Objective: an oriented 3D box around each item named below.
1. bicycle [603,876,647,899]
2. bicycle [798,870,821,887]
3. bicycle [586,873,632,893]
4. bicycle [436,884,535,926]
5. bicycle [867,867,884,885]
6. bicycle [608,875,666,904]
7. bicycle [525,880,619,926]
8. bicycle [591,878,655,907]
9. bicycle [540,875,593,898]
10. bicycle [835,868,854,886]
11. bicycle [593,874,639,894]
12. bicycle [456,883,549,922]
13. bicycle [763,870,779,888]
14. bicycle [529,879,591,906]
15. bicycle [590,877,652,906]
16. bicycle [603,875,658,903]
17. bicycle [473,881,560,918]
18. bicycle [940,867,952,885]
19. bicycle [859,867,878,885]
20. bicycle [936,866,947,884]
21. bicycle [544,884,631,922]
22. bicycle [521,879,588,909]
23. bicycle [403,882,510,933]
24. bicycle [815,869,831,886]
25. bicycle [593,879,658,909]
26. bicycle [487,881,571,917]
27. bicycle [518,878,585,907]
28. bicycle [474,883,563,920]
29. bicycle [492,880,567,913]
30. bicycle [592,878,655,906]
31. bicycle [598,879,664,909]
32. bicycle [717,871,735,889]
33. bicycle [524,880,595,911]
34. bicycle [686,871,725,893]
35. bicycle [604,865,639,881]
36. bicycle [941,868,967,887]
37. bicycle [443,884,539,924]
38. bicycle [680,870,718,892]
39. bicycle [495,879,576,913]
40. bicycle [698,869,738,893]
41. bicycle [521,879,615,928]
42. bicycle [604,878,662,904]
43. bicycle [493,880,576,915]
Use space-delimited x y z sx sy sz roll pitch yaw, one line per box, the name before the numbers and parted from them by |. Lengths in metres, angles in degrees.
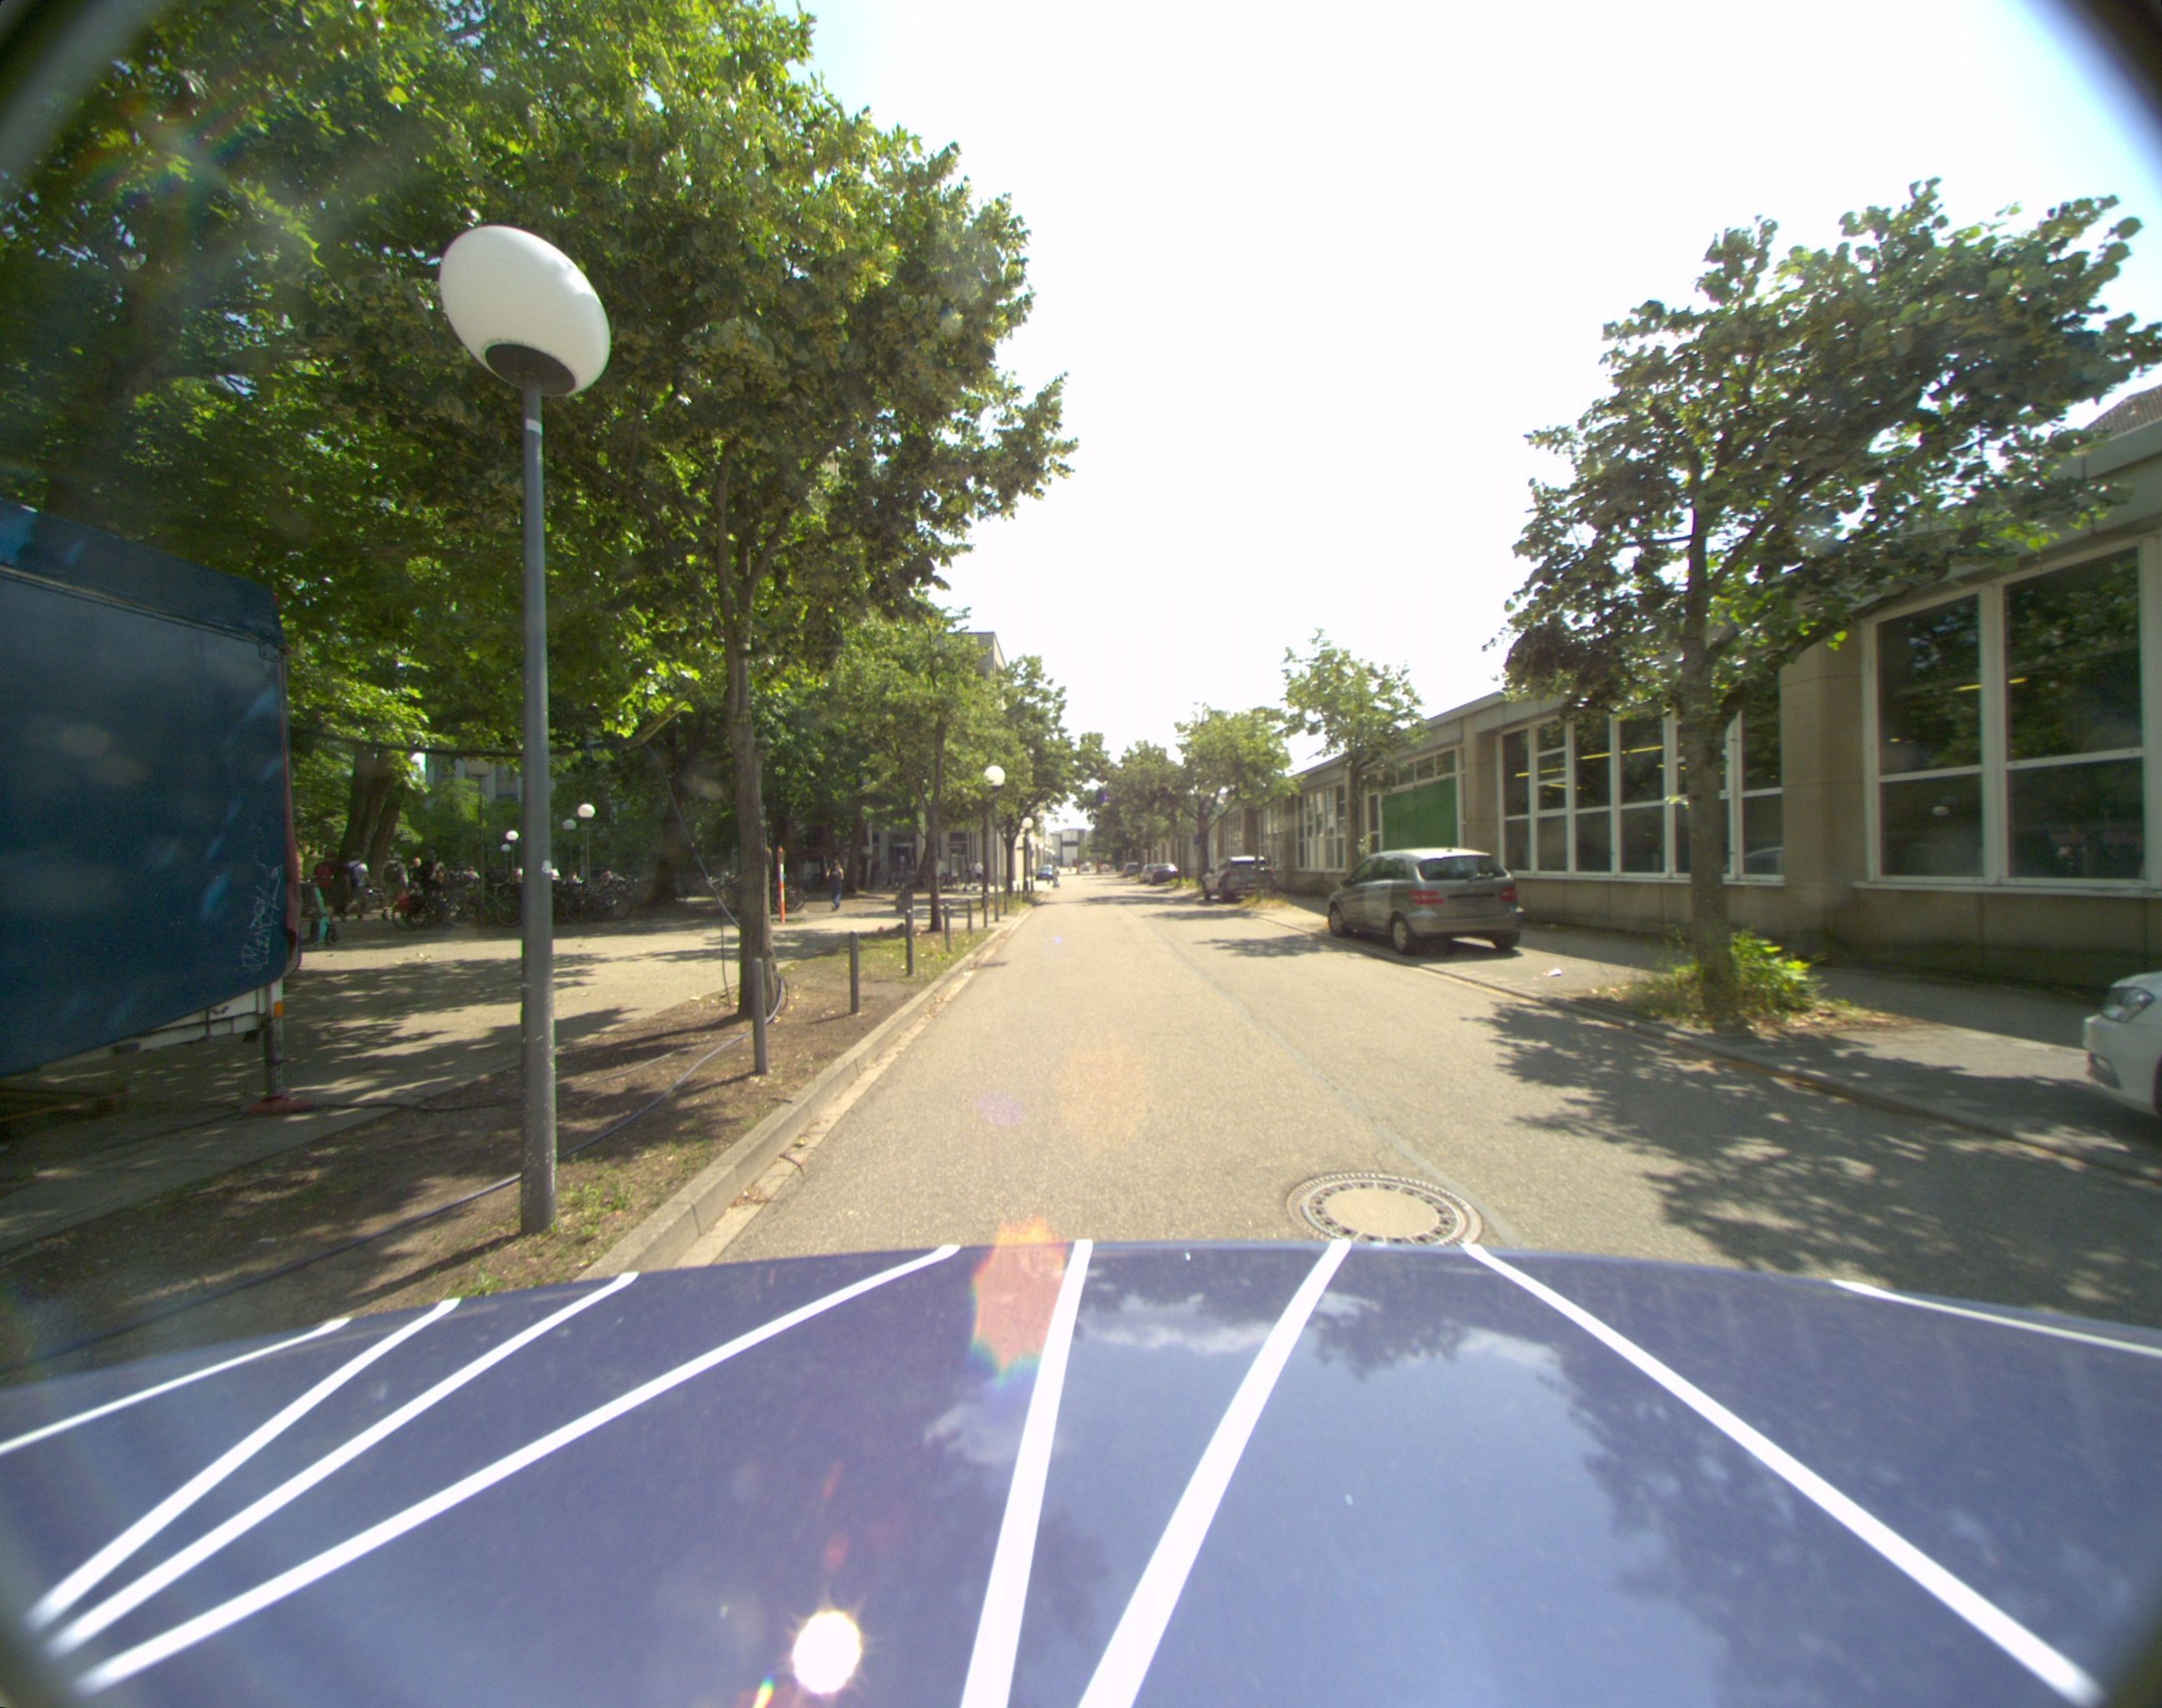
bicycle | -21.760 1.588 36.309 1.746 1.017 0.477 0 0 -41
bicycle | -17.410 1.574 48.838 0.617 1.041 1.698 -4 -1 8
bicycle | -24.057 1.483 38.743 0.477 0.973 1.908 0 0 41
bicycle | -14.844 1.265 18.984 1.905 0.973 0.478 0 0 -19
bicycle | -13.204 1.444 48.928 0.481 1.118 1.697 0 -2 5
bicycle | -17.395 1.381 29.773 1.907 1.076 0.477 0 0 -36
bicycle | -13.006 1.241 19.482 1.906 1.112 0.611 0 0 -22
bicycle | -16.504 1.388 27.396 1.908 0.973 0.477 0 0 -41
bicycle | -22.745 1.424 33.645 1.907 0.973 0.477 0 0 -30
bicycle | -15.258 1.460 49.009 0.627 1.143 1.697 0 -2 2
bicycle | -23.168 1.495 37.892 1.908 0.973 0.477 0 0 -38
bicycle | -15.344 1.276 20.192 1.906 0.973 0.477 0 0 -25
bicycle | -20.047 1.634 49.133 0.454 1.123 1.688 -3 -1 -5
bicycle | -19.884 1.458 29.017 1.908 0.973 0.477 0 0 -39
bicycle | -17.023 1.375 28.173 1.908 0.973 0.477 0 0 -42
bicycle | -18.561 1.427 31.346 1.907 1.076 0.477 0 0 -36
bicycle | -15.768 1.271 21.264 1.906 0.973 0.421 0 0 -22
bicycle | -8.682 1.407 48.855 0.561 1.134 1.489 1 0 -3
bicycle | -13.709 1.443 49.087 0.565 1.118 1.697 0 -2 5
bicycle | -10.462 1.565 56.971 0.531 1.235 1.829 -1 1 -1
bicycle | -13.375 1.320 20.641 1.906 0.973 0.611 0 0 -22
bicycle | -18.660 1.396 26.965 1.908 0.973 0.477 0 0 -39
bicycle | -14.805 1.255 18.068 1.905 1.136 0.478 0 0 -19
bicycle | -16.600 1.529 48.880 0.568 1.041 1.696 -3 -1 -8
bicycle | -16.115 1.411 26.923 0.477 0.973 1.908 0 0 42
bicycle | -15.908 1.273 21.941 1.906 0.973 0.477 0 0 -23
bicycle | -18.363 1.327 26.400 1.888 0.973 0.305 0 0 -27
bicycle | -15.439 1.289 20.899 1.906 0.973 0.421 0 0 -22
bicycle | -17.310 1.327 23.897 1.907 0.973 0.535 0 0 -34
bicycle | -16.760 1.374 27.871 1.908 0.973 0.477 0 0 -42
bicycle | -15.690 1.380 26.536 0.477 0.973 1.908 0 0 42
bicycle | -22.693 1.647 48.611 0.454 1.123 1.688 -3 -1 -5
bicycle | -17.331 1.377 25.294 1.907 0.973 0.477 0 0 -30
bicycle | -20.730 1.536 41.953 1.848 1.163 0.435 0 0 -35
bicycle | -32.966 1.327 54.482 1.930 1.036 0.818 -1 3 -1
bicycle | -8.036 1.471 48.142 0.604 1.134 1.790 1 0 33
bicycle | -15.155 1.268 19.564 1.907 0.973 0.420 0 0 -28
bicycle | -21.423 1.512 42.660 1.849 1.163 0.412 0 -1 -39
bicycle | -16.569 1.278 23.134 1.906 0.973 0.611 0 0 -22
bicycle | -18.827 1.394 39.422 1.849 1.163 0.412 0 -1 -39
bicycle | -12.428 1.186 18.467 1.811 1.112 0.611 0 0 -22
bicycle | -17.204 1.410 29.185 1.907 0.973 0.477 0 0 -30
bicycle | -16.013 1.273 22.303 1.906 0.973 0.477 0 0 -23
